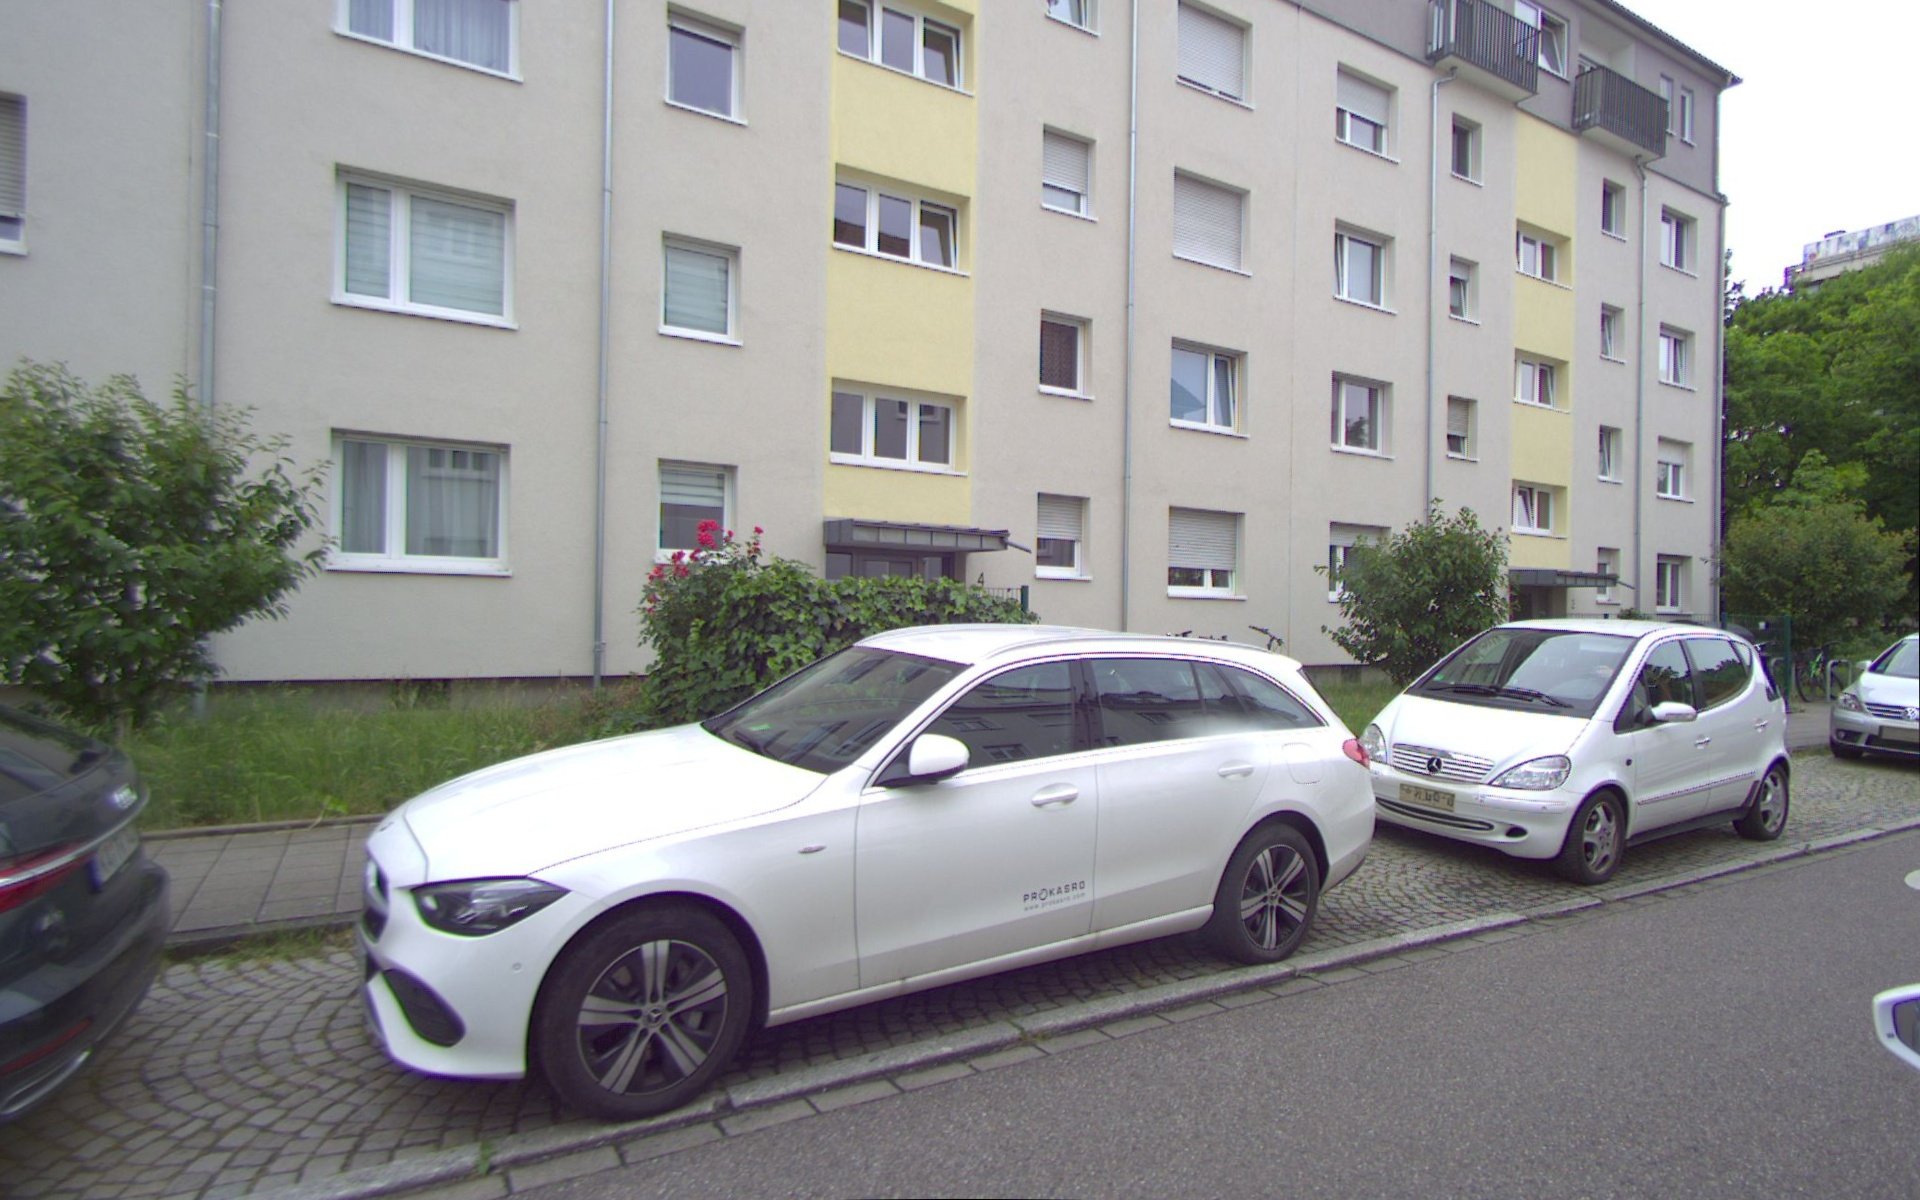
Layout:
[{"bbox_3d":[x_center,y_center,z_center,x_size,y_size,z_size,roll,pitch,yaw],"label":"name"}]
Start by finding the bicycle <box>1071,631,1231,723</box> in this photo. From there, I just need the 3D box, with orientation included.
[{"bbox_3d":[2.487,0.959,13.011,2.066,1.092,0.728,1,0,-31],"label":"bicycle"}]

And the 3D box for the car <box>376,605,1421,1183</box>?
[{"bbox_3d":[-0.112,0.845,4.666,4.470,1.472,1.885,1,2,-31],"label":"car"}]

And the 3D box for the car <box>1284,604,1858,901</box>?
[{"bbox_3d":[4.790,0.924,7.717,4.470,1.620,1.885,1,2,-31],"label":"car"}]

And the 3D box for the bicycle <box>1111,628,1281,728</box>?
[{"bbox_3d":[2.866,0.903,12.129,2.066,1.092,0.728,1,0,-31],"label":"bicycle"}]

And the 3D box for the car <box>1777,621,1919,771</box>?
[{"bbox_3d":[11.829,1.086,12.007,3.955,1.561,1.983,1,0,-32],"label":"car"}]

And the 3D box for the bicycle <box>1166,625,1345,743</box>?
[{"bbox_3d":[3.374,0.907,11.400,2.066,1.227,0.728,1,0,-31],"label":"bicycle"}]

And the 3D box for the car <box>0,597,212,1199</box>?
[{"bbox_3d":[-4.551,0.728,2.056,4.612,1.472,1.885,1,2,-30],"label":"car"}]
